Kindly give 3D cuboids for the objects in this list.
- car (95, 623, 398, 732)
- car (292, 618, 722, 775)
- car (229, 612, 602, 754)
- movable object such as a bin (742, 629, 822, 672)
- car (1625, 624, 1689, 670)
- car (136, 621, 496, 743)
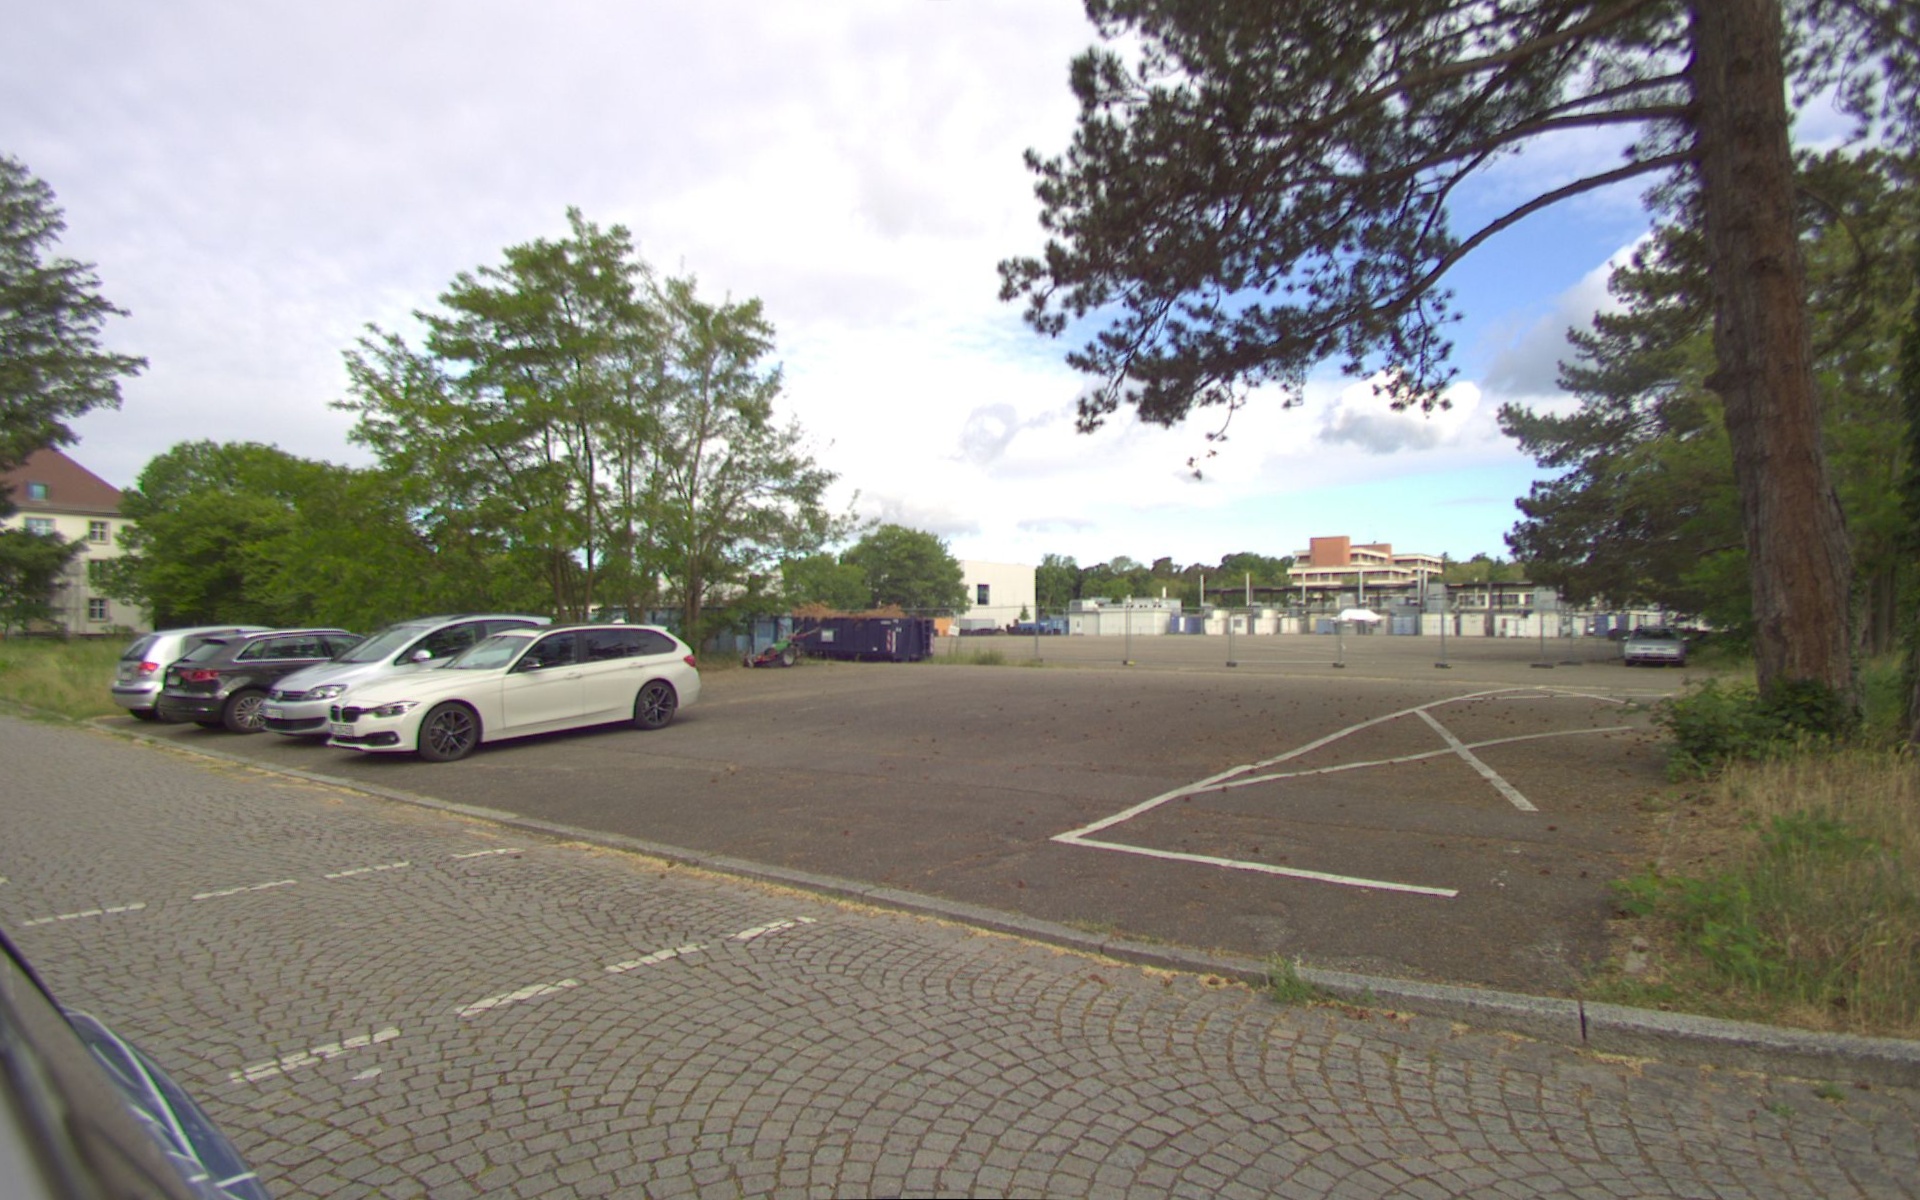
[{"bbox_3d":[-12.014,1.215,17.280,1.581,1.481,3.916,-1,1,35],"label":"car"},{"bbox_3d":[-5.481,1.057,12.883,1.863,1.499,4.697,-3,-1,36],"label":"car"},{"bbox_3d":[-7.514,1.035,14.423,1.867,1.610,4.329,-1,0,32],"label":"car"},{"bbox_3d":[-4.968,1.408,28.377,0.857,1.134,2.241,-1,-3,36],"label":"movable object such as a bin"},{"bbox_3d":[24.787,1.616,35.952,1.732,1.443,4.110,-1,-1,36],"label":"car"},{"bbox_3d":[-9.809,1.148,15.766,1.719,1.435,4.395,-1,1,36],"label":"car"}]
